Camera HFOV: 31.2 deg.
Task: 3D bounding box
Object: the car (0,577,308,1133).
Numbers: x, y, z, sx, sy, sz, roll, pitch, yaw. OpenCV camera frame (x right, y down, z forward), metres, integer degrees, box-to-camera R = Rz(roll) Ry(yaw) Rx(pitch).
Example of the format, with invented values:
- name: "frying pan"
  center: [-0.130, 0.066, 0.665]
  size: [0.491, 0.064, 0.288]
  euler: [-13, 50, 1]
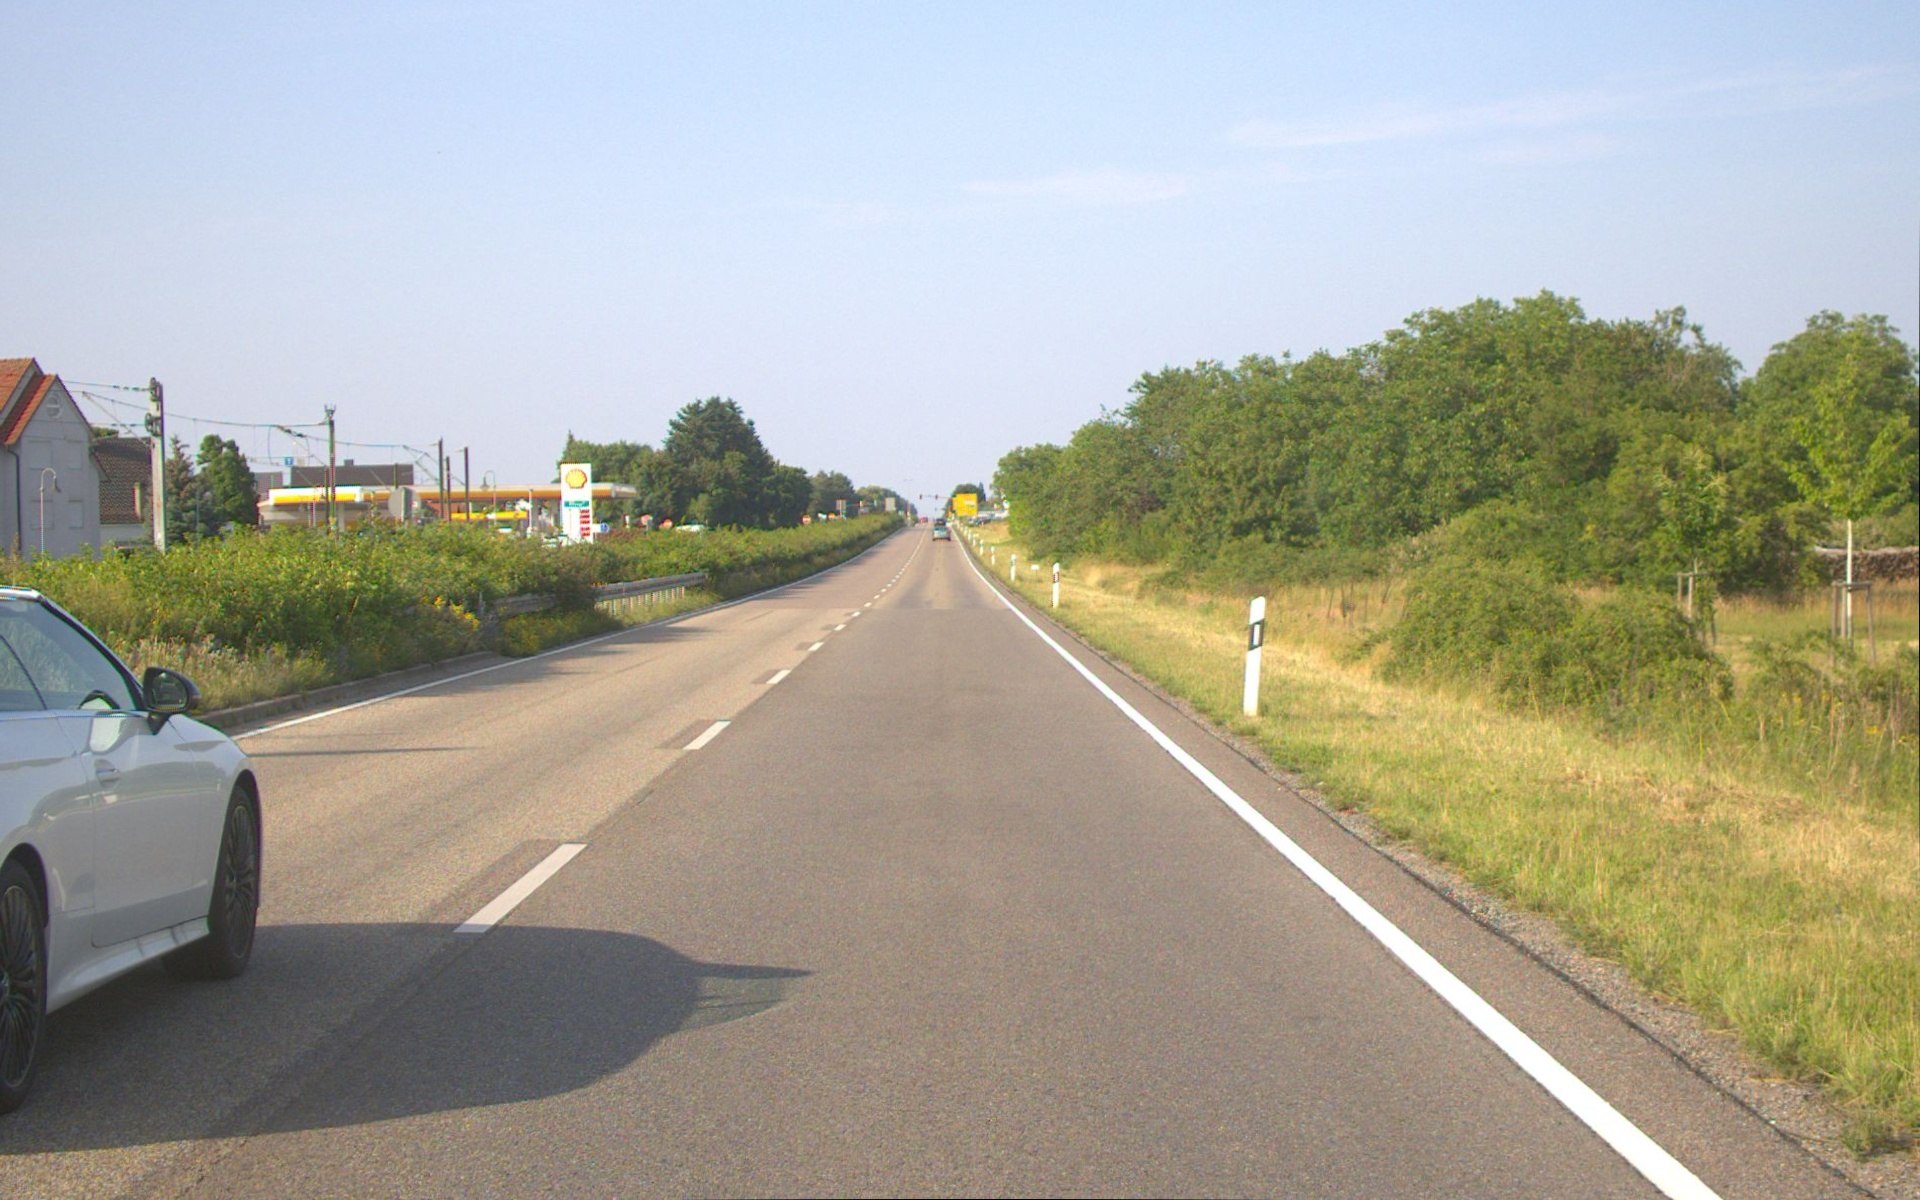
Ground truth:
- name: "car"
  center: [-3.288, 0.632, 10.158]
  size: [1.771, 1.333, 4.950]
  euler: [1, 1, 0]
